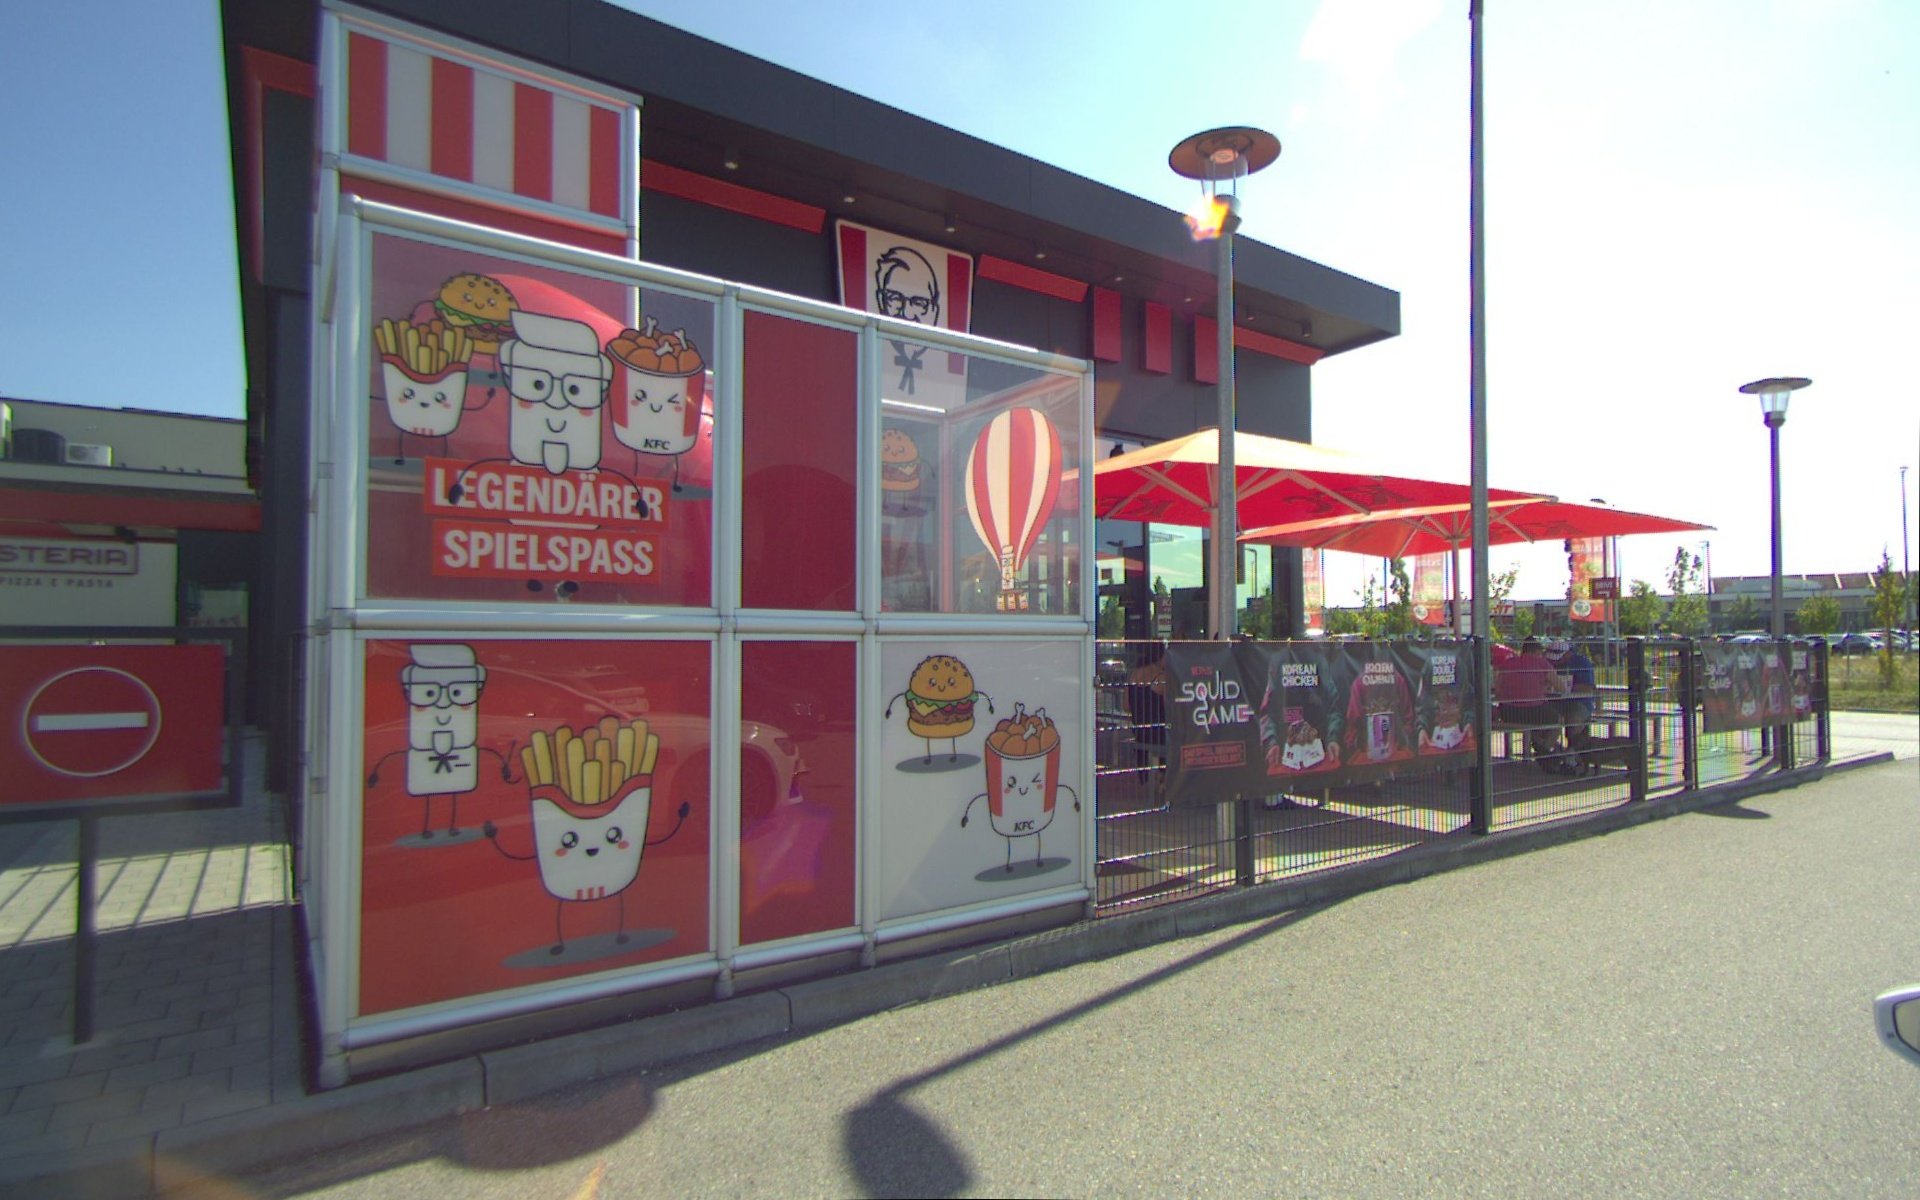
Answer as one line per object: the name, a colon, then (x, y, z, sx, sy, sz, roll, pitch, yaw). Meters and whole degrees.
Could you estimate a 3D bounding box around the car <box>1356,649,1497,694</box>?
car: (15.691, 2.396, 33.779, 4.536, 1.431, 1.731, 2, -3, -23)

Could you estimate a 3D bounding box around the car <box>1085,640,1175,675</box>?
car: (8.798, 2.983, 52.087, 4.271, 1.725, 1.885, 2, -3, -23)

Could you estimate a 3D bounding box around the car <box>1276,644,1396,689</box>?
car: (14.438, 2.533, 38.597, 4.171, 1.659, 1.940, 2, -3, -23)

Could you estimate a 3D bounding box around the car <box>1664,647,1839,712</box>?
car: (19.736, 1.963, 25.036, 4.298, 1.488, 1.821, 2, -3, -27)

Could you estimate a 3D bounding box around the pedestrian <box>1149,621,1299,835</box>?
pedestrian: (1.855, 0.860, 7.103, 0.797, 1.405, 0.661, 1, -2, -27)

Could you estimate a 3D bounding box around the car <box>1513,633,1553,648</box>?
car: (62.961, 4.421, 110.434, 1.653, 1.572, 3.436, 2, -2, -40)

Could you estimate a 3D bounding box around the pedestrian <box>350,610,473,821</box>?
pedestrian: (-4.101, 0.815, 7.496, 0.687, 1.462, 0.790, 1, -2, -37)

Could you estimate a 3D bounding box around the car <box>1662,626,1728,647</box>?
car: (67.958, 3.372, 92.936, 1.936, 1.880, 4.529, 1, -2, -35)

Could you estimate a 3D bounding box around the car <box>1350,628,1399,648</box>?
car: (43.839, 3.981, 106.228, 5.110, 2.040, 1.987, 1, -2, -26)

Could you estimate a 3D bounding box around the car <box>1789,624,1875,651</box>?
car: (63.016, 2.664, 72.633, 1.936, 1.880, 4.362, 1, -2, -35)

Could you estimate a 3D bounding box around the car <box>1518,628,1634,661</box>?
car: (33.984, 2.411, 55.619, 1.966, 1.754, 5.181, 1, -2, -31)

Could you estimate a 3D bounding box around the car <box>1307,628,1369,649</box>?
car: (41.916, 4.245, 111.327, 6.220, 2.267, 2.802, 1, -2, -22)

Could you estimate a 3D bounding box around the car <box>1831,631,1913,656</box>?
car: (69.887, 3.297, 77.010, 1.936, 1.880, 4.362, 1, -2, -35)

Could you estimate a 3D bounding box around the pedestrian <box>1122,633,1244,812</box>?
pedestrian: (1.742, 0.925, 7.895, 0.678, 1.322, 0.661, 1, -2, -26)

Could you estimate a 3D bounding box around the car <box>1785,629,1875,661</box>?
car: (53.644, 2.761, 61.967, 4.327, 1.880, 1.952, 1, -2, -12)

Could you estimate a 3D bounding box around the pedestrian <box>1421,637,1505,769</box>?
pedestrian: (5.170, 1.032, 10.326, 0.675, 1.290, 0.549, -1, -2, 39)

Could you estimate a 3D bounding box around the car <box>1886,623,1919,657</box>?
car: (55.032, 2.239, 56.657, 4.327, 1.880, 1.952, 1, -2, -12)

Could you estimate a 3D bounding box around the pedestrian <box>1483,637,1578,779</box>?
pedestrian: (5.511, 1.004, 9.690, 0.675, 1.290, 0.838, -1, -2, 38)

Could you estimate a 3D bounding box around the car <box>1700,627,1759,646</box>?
car: (77.539, 3.673, 101.210, 1.936, 1.880, 4.362, 1, -2, -35)

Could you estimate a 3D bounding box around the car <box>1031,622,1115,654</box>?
car: (6.569, 2.232, 58.602, 4.517, 1.783, 1.889, 2, -3, -18)

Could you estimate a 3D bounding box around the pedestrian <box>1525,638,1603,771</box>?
pedestrian: (6.160, 1.034, 10.239, 0.604, 1.290, 0.621, -1, -2, 39)

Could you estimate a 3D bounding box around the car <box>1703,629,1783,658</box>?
car: (52.049, 2.857, 66.790, 4.211, 1.880, 1.996, 1, -2, -12)

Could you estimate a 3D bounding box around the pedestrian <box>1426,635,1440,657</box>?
pedestrian: (33.573, 3.279, 71.281, 0.614, 1.576, 0.666, 0, -1, -9)

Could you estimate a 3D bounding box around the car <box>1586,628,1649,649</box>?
car: (65.879, 3.800, 100.685, 2.065, 2.040, 4.877, 2, -2, -39)

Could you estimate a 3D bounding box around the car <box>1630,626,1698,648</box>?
car: (61.766, 3.198, 88.225, 1.936, 1.880, 4.529, 1, -2, -35)

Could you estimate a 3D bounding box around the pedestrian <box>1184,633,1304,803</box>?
pedestrian: (2.346, 0.941, 8.325, 0.703, 1.322, 0.661, 1, -2, -27)

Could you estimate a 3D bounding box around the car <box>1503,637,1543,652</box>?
car: (60.763, 4.761, 108.475, 1.653, 1.572, 3.436, 2, -2, -40)
